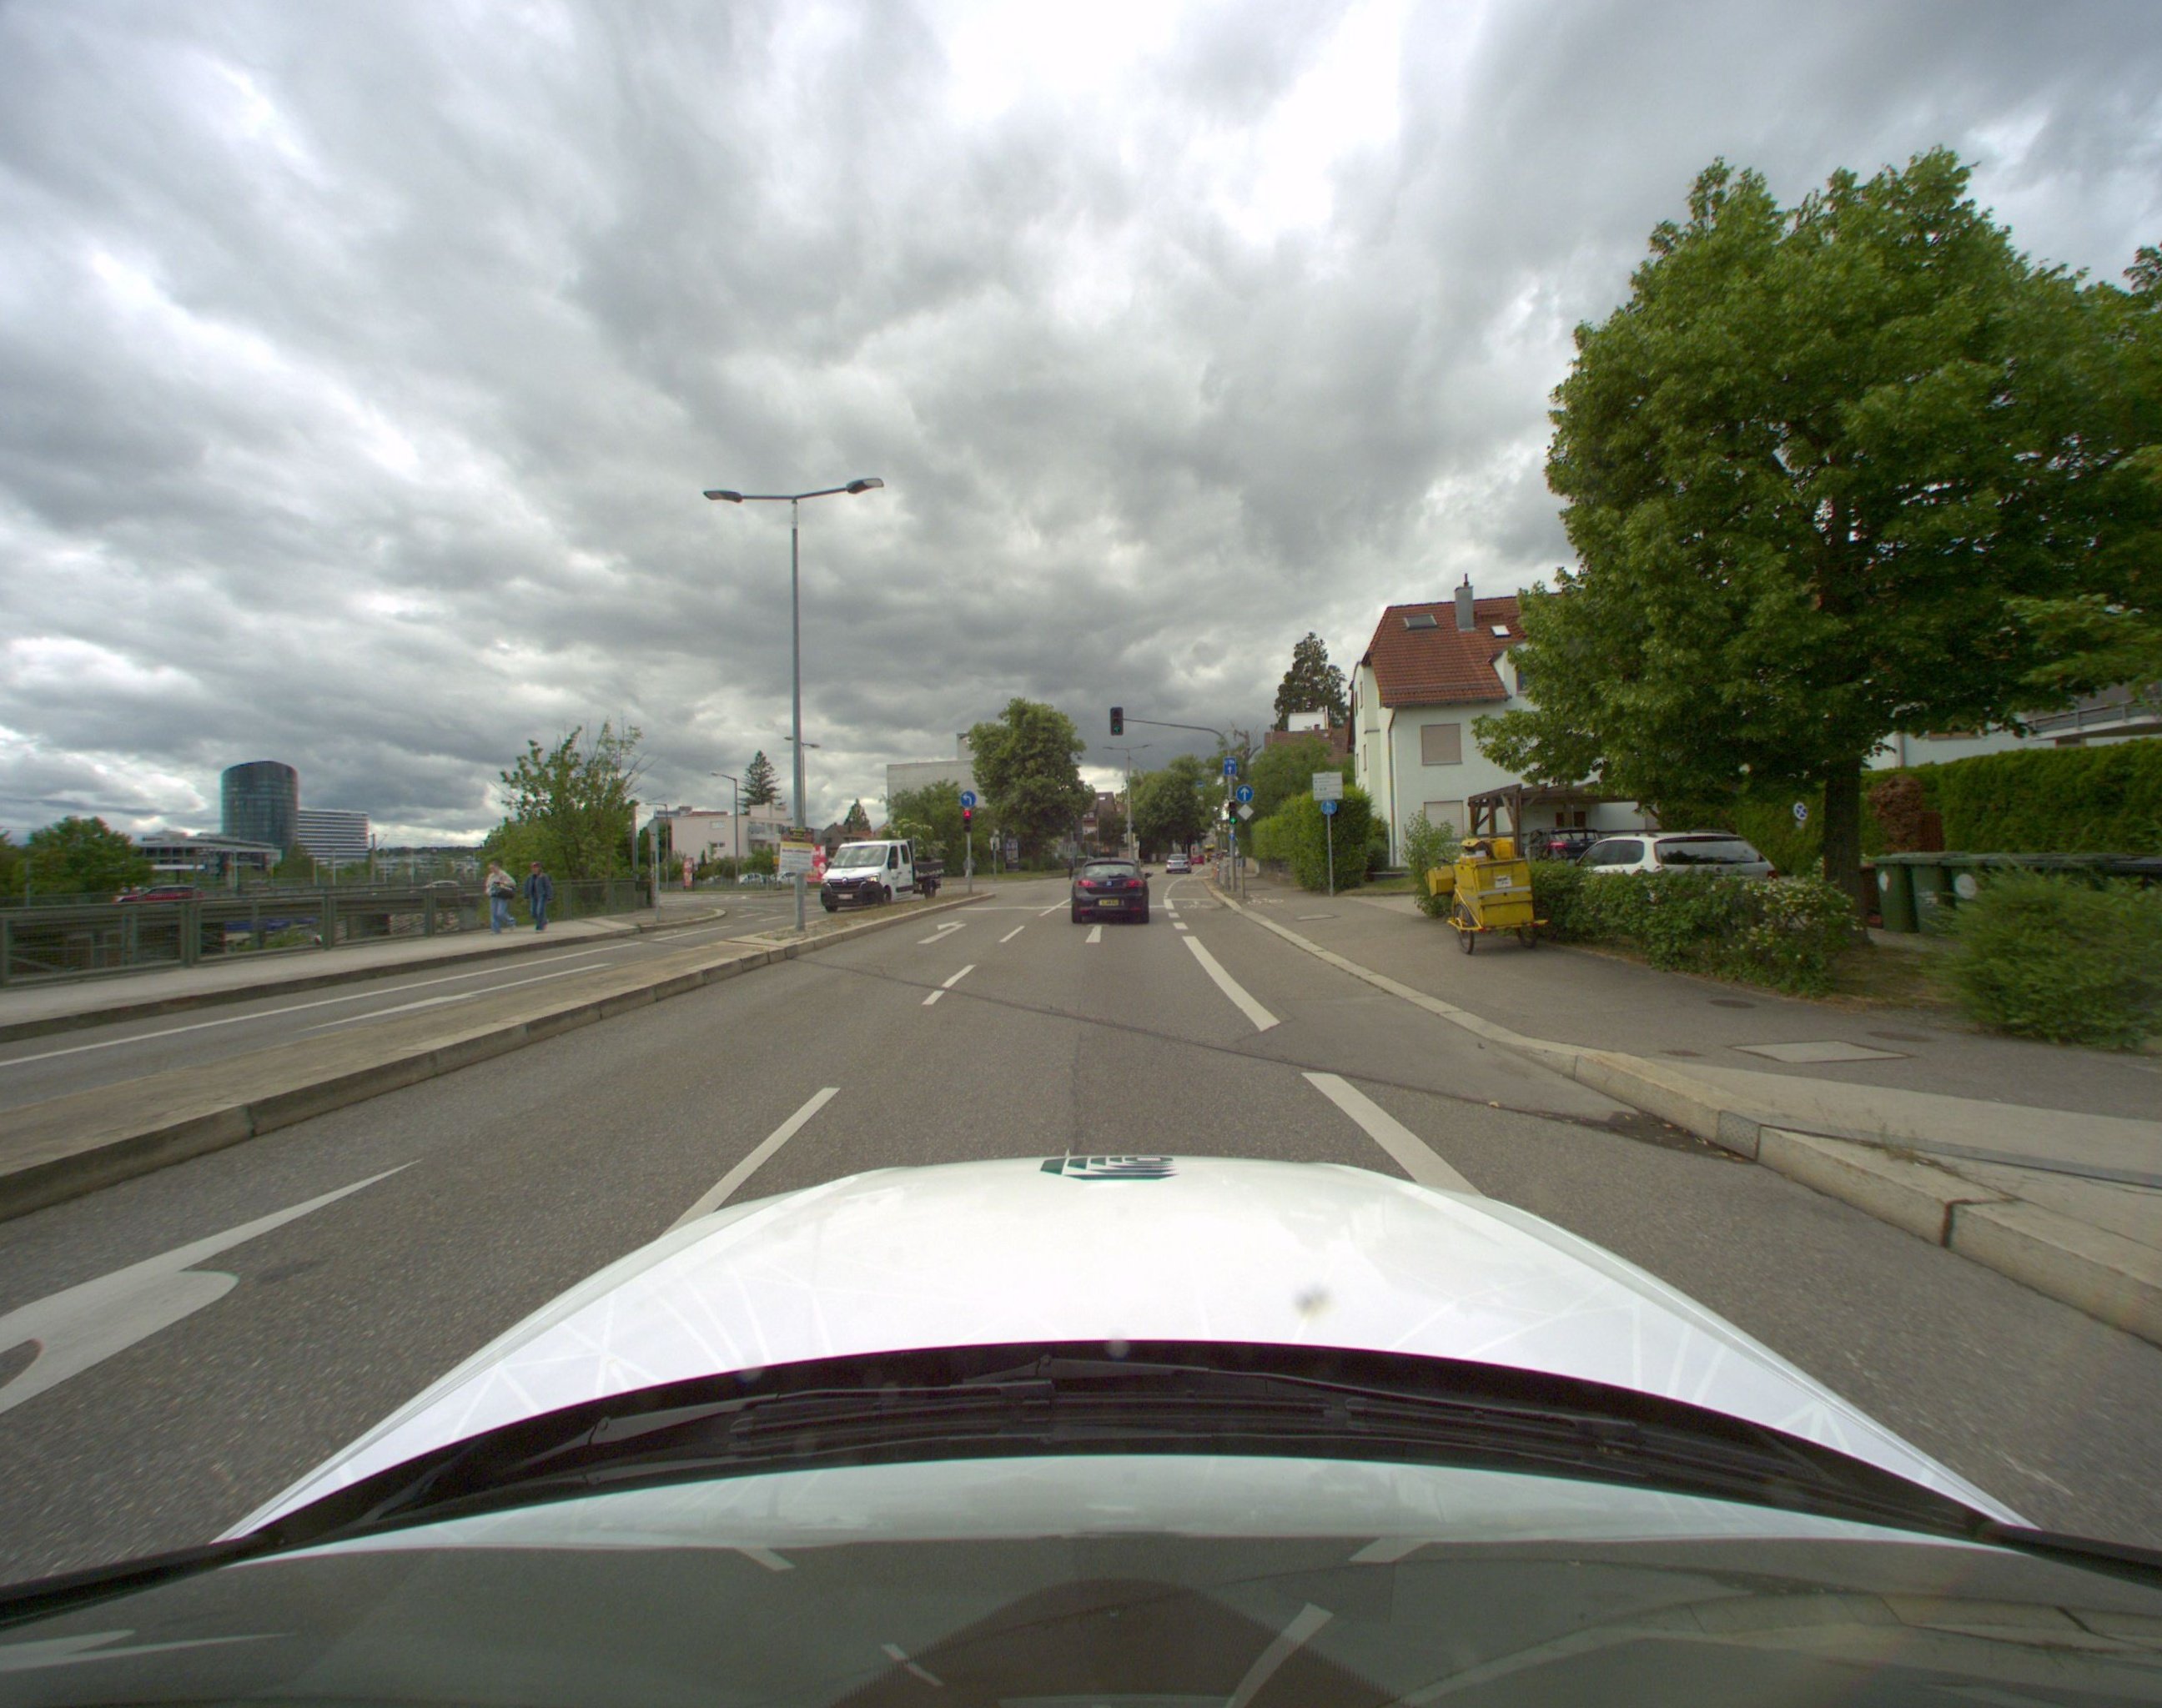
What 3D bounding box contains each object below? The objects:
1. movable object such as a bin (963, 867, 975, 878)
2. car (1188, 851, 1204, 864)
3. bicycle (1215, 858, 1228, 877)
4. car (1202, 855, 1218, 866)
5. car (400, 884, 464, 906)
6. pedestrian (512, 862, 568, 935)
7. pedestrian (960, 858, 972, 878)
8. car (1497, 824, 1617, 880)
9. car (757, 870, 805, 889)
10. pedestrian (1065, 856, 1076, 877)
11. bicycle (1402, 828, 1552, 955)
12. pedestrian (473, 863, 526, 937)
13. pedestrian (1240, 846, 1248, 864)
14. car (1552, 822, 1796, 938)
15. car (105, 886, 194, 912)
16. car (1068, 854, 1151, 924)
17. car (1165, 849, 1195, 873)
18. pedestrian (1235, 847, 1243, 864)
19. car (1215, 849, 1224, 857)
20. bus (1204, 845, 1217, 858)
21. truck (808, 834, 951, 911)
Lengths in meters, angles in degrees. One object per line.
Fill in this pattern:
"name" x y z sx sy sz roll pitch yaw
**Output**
"movable object such as a bin" -8.784 1.425 63.681 0.651 0.798 0.899 -2 0 8
"car" 15.087 0.427 106.293 1.930 1.481 4.264 -3 0 9
"bicycle" 7.660 0.725 44.420 0.624 1.028 1.508 -2 0 9
"car" 21.866 1.096 137.970 1.978 1.684 4.018 -2 0 17
"car" -54.848 3.437 68.852 1.868 1.571 4.024 0 0 43
"pedestrian" -12.532 1.009 18.892 0.655 1.633 1.069 -1 0 -5
"pedestrian" -8.902 1.073 62.995 0.651 1.522 0.926 -2 0 8
"car" 14.033 -0.054 24.264 1.658 1.449 4.009 -3 0 8
"car" -27.961 2.361 75.994 1.779 1.554 4.024 -2 0 26
"pedestrian" -0.763 0.877 57.317 0.771 1.407 0.600 0 1 -2
"bicycle" 5.527 0.465 11.629 0.887 1.510 2.788 -6 0 6
"pedestrian" -13.369 1.040 18.750 0.655 1.633 0.831 -1 -1 -6
"pedestrian" 14.568 0.113 72.756 0.541 1.555 0.471 -6 -1 2
"car" 8.941 0.294 12.721 1.658 1.504 4.076 -2 1 14
"car" -67.249 3.226 58.880 4.022 1.662 1.777 1 0 -43
"car" 0.743 0.745 19.175 1.751 1.448 3.718 0 0 4
"car" 7.642 0.494 62.844 1.806 1.699 4.268 -3 0 12
"pedestrian" 14.718 0.170 75.799 0.545 1.517 0.363 -5 0 20
"car" 29.329 -0.179 172.124 1.837 1.596 4.117 -2 0 10
"bus" 32.713 -0.556 205.174 2.851 3.136 6.416 -2 0 10
"truck" -6.692 0.560 28.188 2.112 2.264 6.825 -3 0 10
